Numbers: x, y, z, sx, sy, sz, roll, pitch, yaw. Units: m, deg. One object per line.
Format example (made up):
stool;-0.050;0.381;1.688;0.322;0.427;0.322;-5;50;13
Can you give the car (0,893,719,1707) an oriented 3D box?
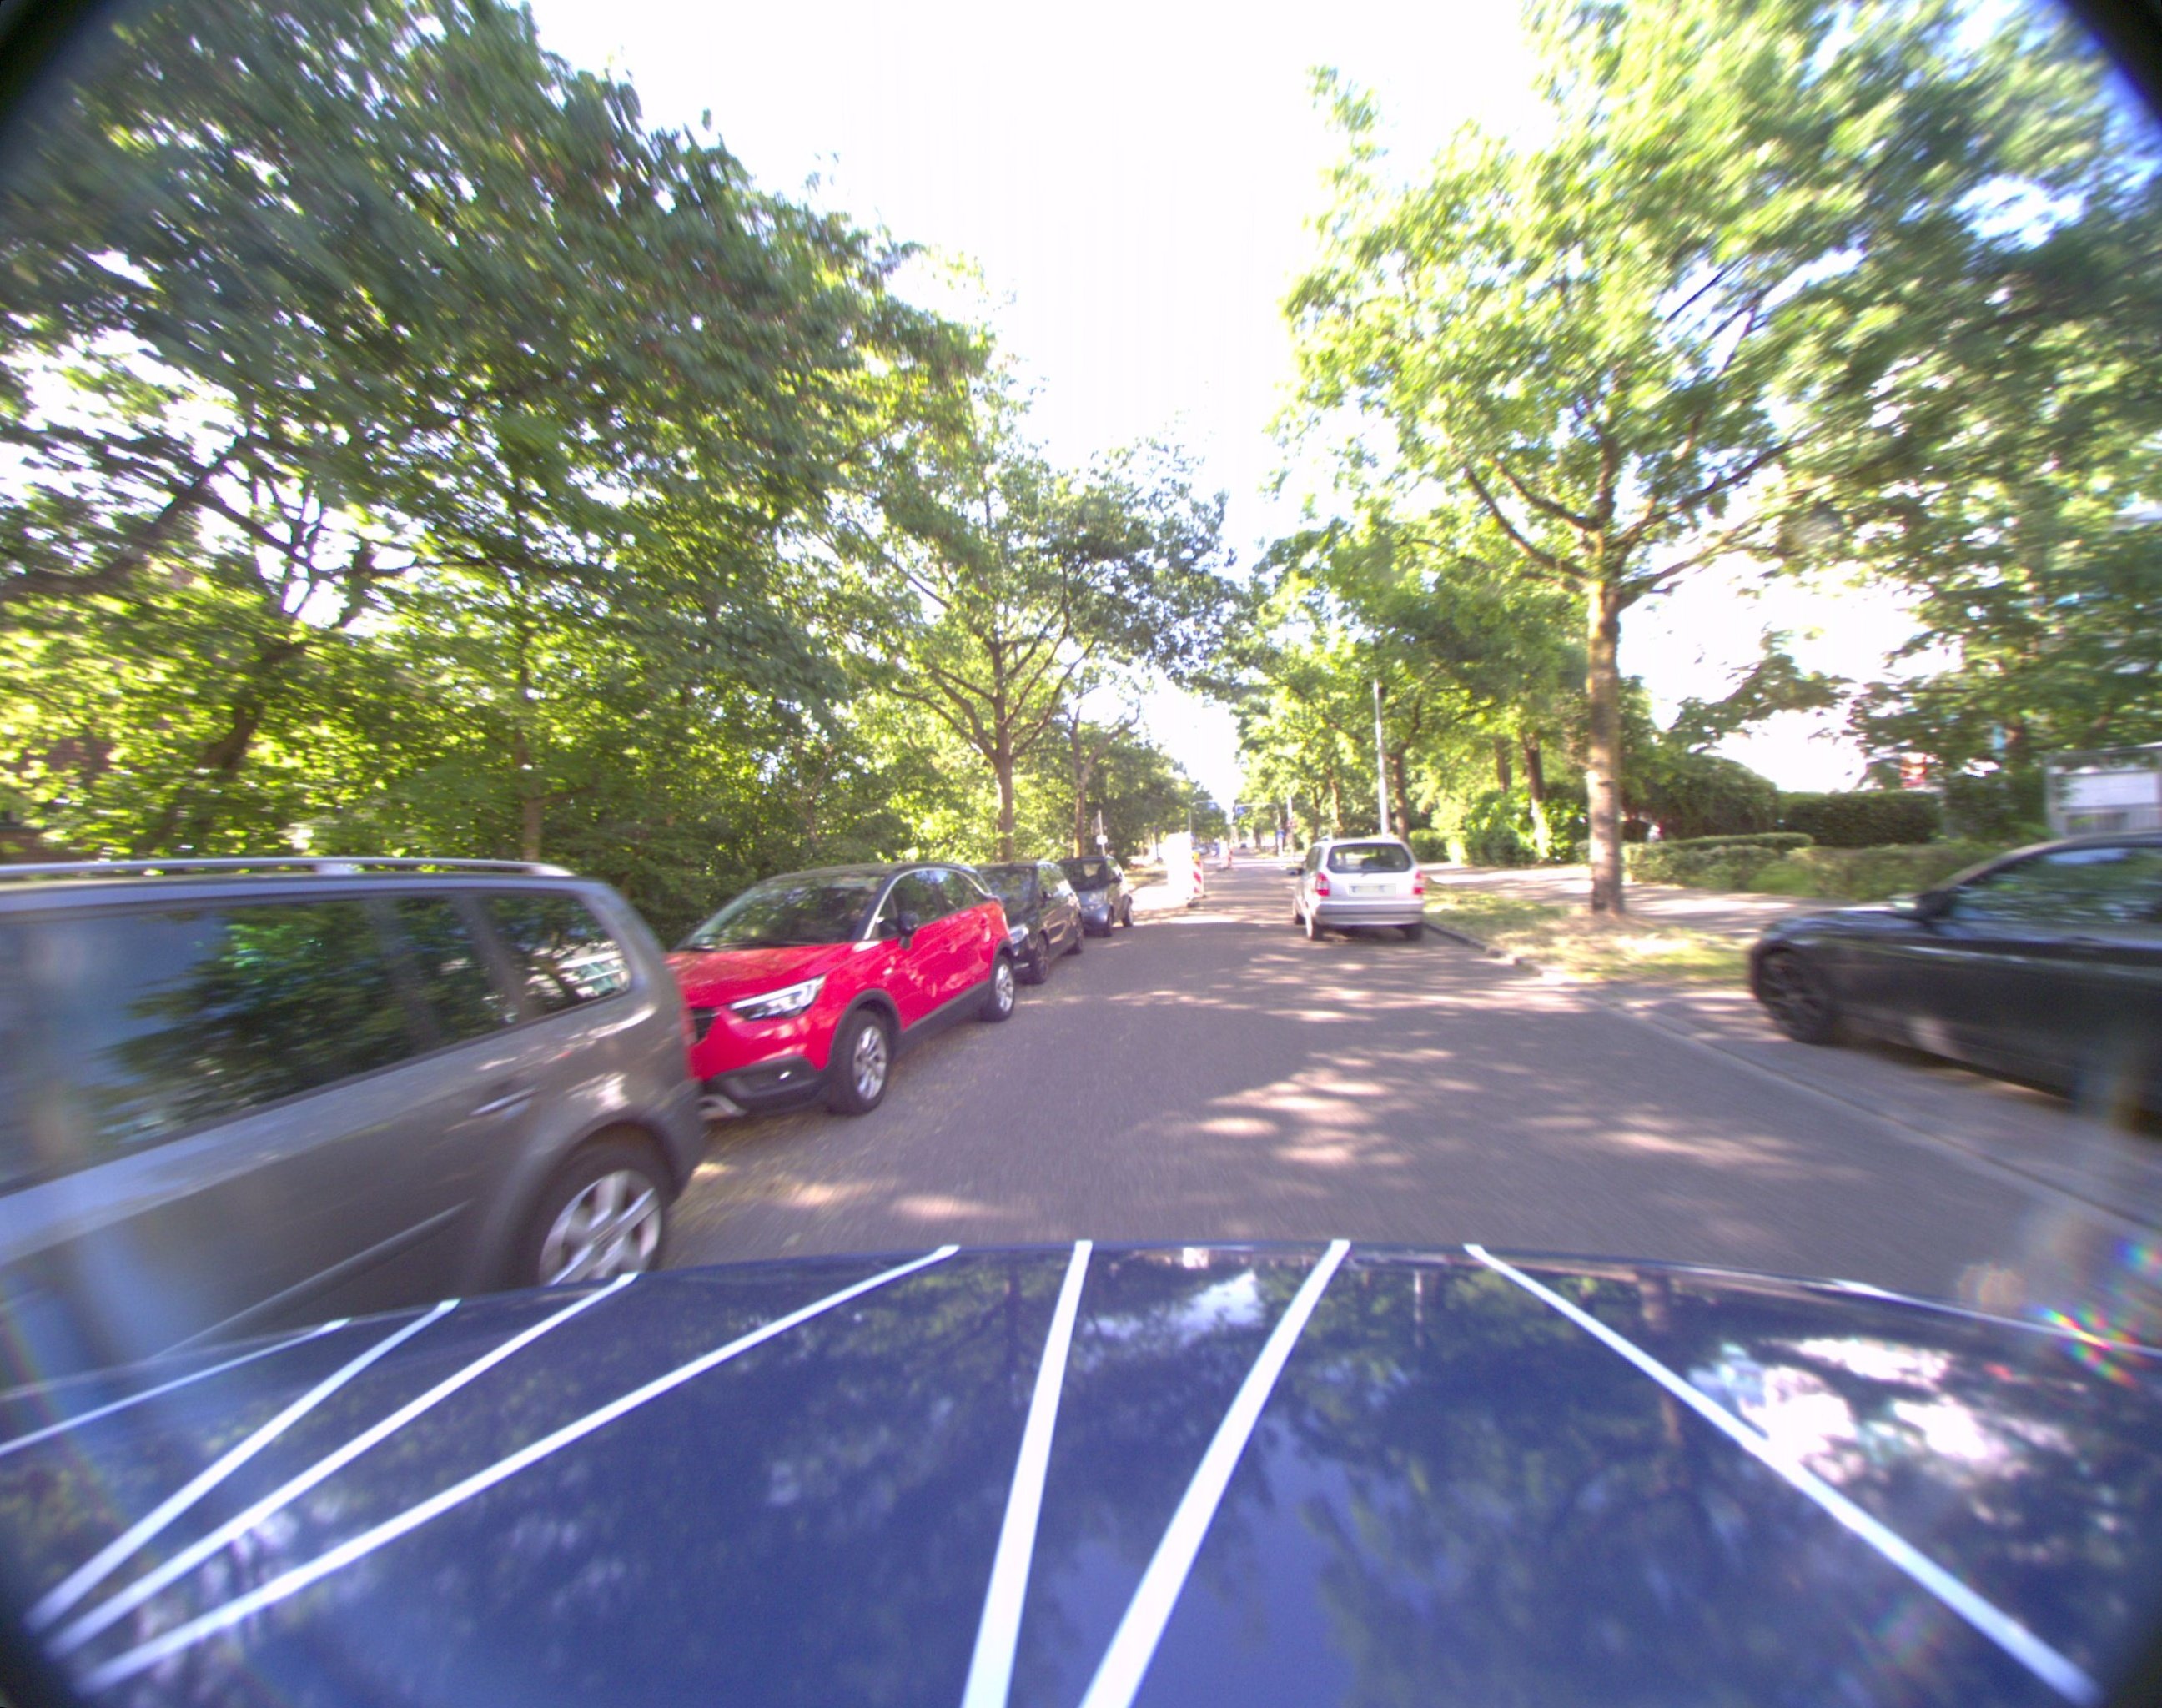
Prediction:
car;-2.720;1.045;1.121;1.681;1.612;4.140;-4;0;12

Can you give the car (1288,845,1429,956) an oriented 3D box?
car;4.598;0.668;13.109;1.662;1.587;4.011;-1;1;11

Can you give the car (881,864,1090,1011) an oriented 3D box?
car;-1.091;1.006;10.773;1.715;1.500;4.152;-4;0;10

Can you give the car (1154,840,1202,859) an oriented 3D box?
car;11.243;-0.536;87.763;5.264;1.993;2.001;-2;1;11

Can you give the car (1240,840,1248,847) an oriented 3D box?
car;47.175;-2.976;219.593;1.996;1.805;4.004;-4;0;15

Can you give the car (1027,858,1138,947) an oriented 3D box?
car;0.117;0.901;15.217;1.496;1.500;2.679;-4;0;15

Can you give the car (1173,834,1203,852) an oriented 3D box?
car;16.190;-1.592;114.756;4.408;2.531;1.890;-2;1;8

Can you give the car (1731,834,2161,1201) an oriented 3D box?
car;5.399;0.673;3.456;1.719;1.424;4.140;-5;0;9

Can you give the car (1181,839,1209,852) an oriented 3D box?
car;17.978;-1.340;119.766;4.241;1.993;1.566;-2;1;8

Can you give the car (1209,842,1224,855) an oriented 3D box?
car;19.917;-0.819;111.426;1.996;1.871;4.003;-1;1;13

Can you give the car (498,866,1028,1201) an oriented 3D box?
car;-1.886;0.997;6.003;1.681;1.565;4.070;-4;0;13
